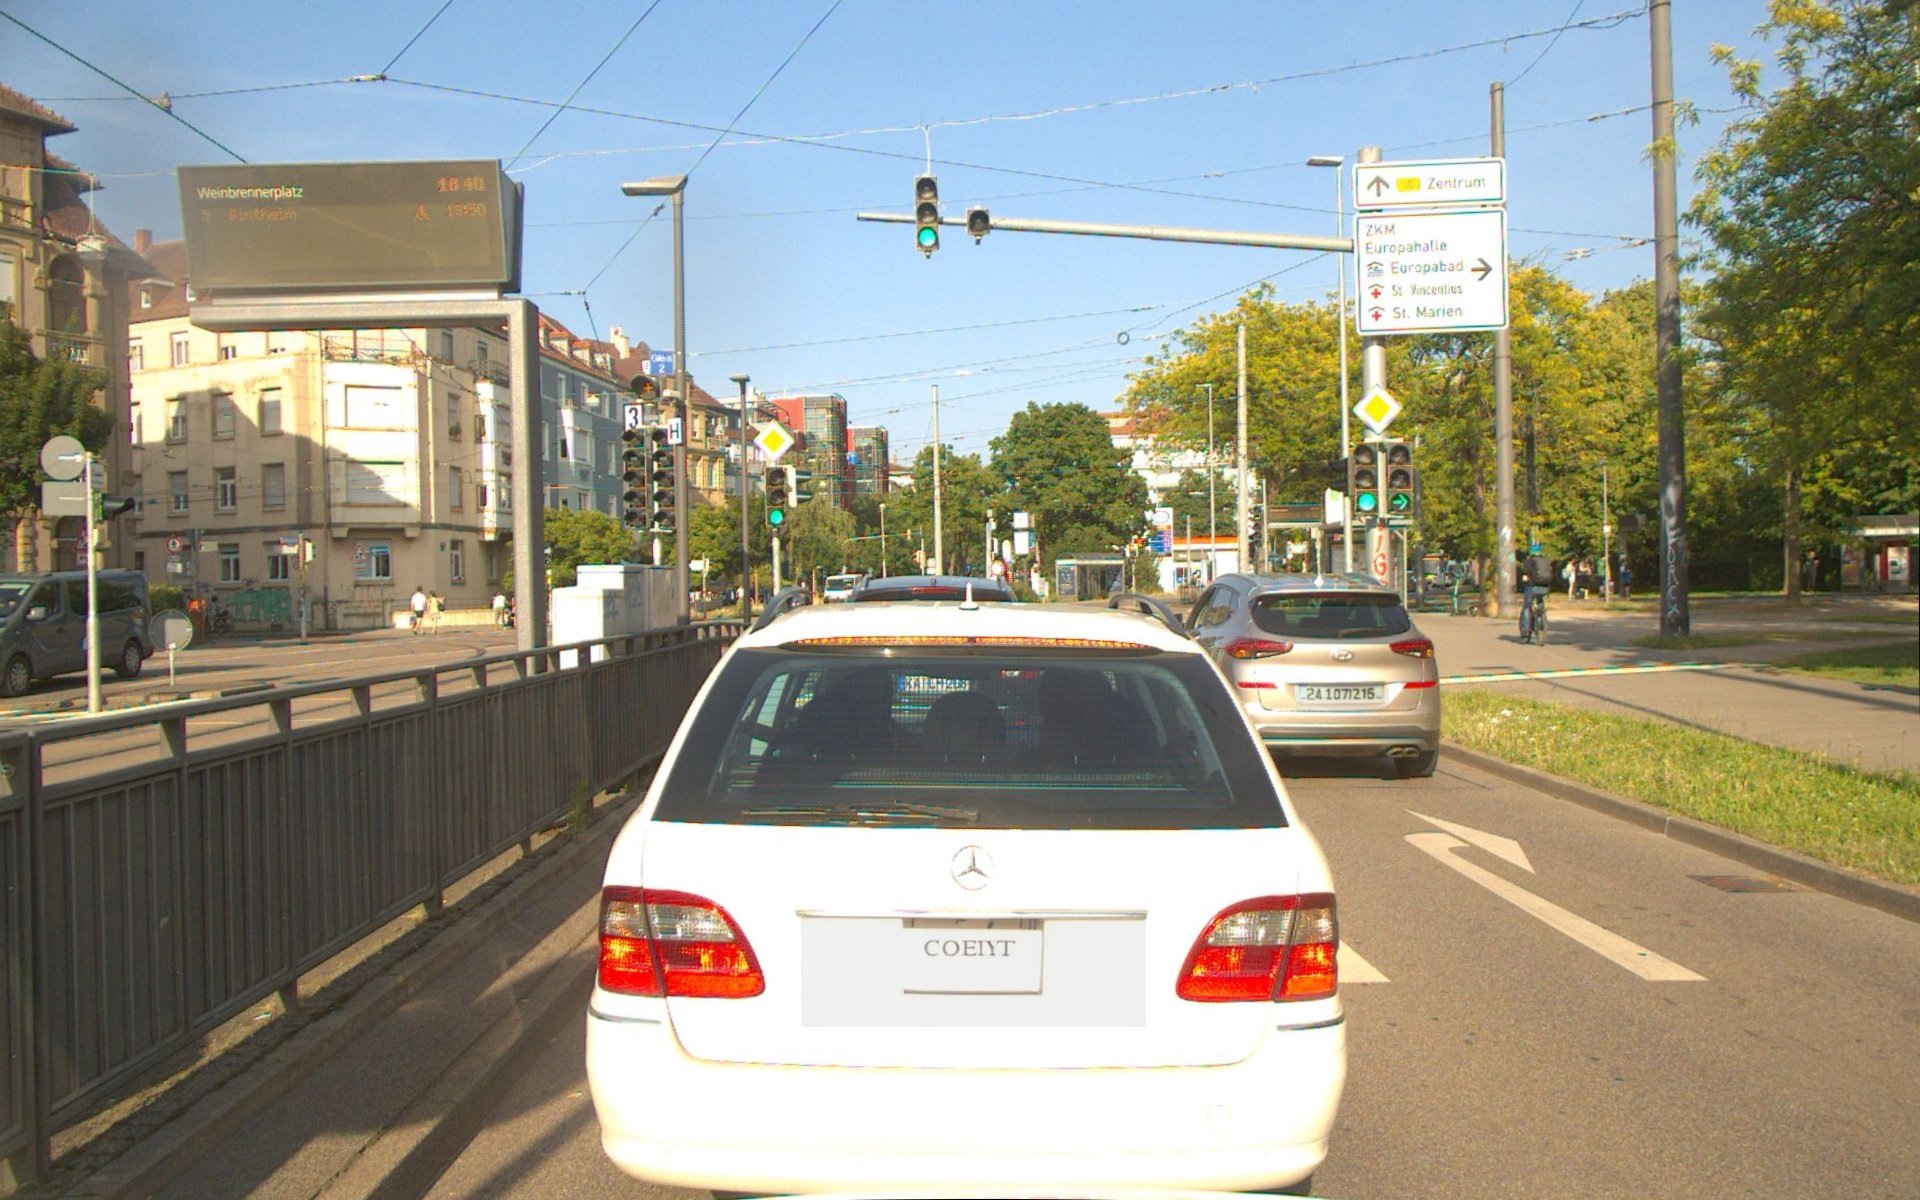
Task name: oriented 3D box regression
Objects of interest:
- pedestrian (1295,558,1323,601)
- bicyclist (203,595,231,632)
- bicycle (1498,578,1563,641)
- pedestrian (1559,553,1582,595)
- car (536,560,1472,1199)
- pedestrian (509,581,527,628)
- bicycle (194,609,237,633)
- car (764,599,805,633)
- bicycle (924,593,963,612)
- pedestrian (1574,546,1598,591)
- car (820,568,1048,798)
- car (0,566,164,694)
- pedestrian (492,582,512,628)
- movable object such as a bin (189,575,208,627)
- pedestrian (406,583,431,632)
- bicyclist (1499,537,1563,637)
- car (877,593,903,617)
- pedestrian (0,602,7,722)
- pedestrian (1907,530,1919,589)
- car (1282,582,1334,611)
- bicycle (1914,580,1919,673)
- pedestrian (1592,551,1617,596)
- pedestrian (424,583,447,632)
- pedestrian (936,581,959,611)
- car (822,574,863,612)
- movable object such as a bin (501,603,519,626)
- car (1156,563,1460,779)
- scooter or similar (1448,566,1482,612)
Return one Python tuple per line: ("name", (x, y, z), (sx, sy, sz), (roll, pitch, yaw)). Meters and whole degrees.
("pedestrian", (16.661, -0.977, 78.999), (0.981, 2.049, 0.823), (-1, 0, 42))
("bicyclist", (-32.637, 0.582, 72.641), (1.021, 1.597, 0.660), (-1, 0, 31))
("bicycle", (10.694, 0.162, 31.049), (0.627, 1.107, 1.734), (-4, 0, 3))
("pedestrian", (23.963, -1.026, 64.945), (0.628, 1.638, 0.690), (-1, 0, -1))
("car", (0.063, 0.675, 5.091), (1.798, 1.527, 3.814), (0, 0, -1))
("pedestrian", (-18.452, 0.174, 69.022), (0.573, 1.913, 0.626), (-1, 1, -3))
("bicycle", (-32.752, 0.939, 72.729), (1.954, 1.024, 0.741), (-1, 0, 31))
("car", (-9.083, 0.794, 86.065), (1.642, 1.552, 4.125), (-1, 2, 0))
("bicycle", (-0.899, 0.139, 90.170), (1.975, 0.963, 0.880), (-1, 0, 19))
("pedestrian", (24.246, -1.220, 64.102), (0.628, 1.694, 0.690), (-1, 0, -1))
("car", (-0.213, 0.575, 13.644), (1.608, 1.628, 3.814), (0, 0, -1))
("car", (-16.297, 0.488, 28.744), (2.101, 2.049, 5.389), (-1, 0, 2))
("pedestrian", (-19.087, 0.198, 68.899), (0.572, 1.913, 0.627), (-1, 0, 2))
("movable object such as a bin", (-25.637, 0.035, 55.687), (0.261, 1.739, 2.357), (-2, 1, -31))
("pedestrian", (-21.353, 0.305, 65.221), (0.644, 1.913, 0.627), (-1, 0, 14))
("bicyclist", (10.652, -0.237, 30.886), (0.705, 1.776, 1.140), (-4, 0, 3))
("car", (-5.128, 0.328, 121.544), (1.731, 1.520, 4.744), (-2, 2, -1))
("pedestrian", (-13.141, 0.840, 21.932), (0.578, 1.617, 0.715), (-1, 0, -5))
("pedestrian", (30.755, -1.294, 52.970), (0.455, 1.900, 0.600), (1, -1, -30))
("car", (20.018, -0.207, 95.038), (1.818, 1.542, 3.994), (-3, 0, 29))
("bicycle", (9.549, 0.346, 14.950), (0.627, 1.107, 1.939), (-4, 0, -1))
("pedestrian", (24.518, -1.021, 62.932), (0.628, 1.694, 0.690), (-1, 0, -1))
("pedestrian", (-20.552, 0.285, 64.800), (0.661, 1.880, 0.649), (-1, 0, -3))
("pedestrian", (-0.667, -0.204, 90.096), (0.985, 1.619, 0.866), (-1, 0, 18))
("car", (-7.360, -0.461, 103.992), (2.132, 2.278, 5.253), (-1, 1, 0))
("movable object such as a bin", (-19.005, 0.618, 69.863), (0.571, 0.963, 0.663), (-1, 0, 1))
("car", (2.861, 0.522, 14.427), (1.798, 1.628, 3.814), (0, 0, -1))
("scooter or similar", (13.933, -0.304, 45.659), (0.345, 1.253, 1.131), (-1, 0, -15))
